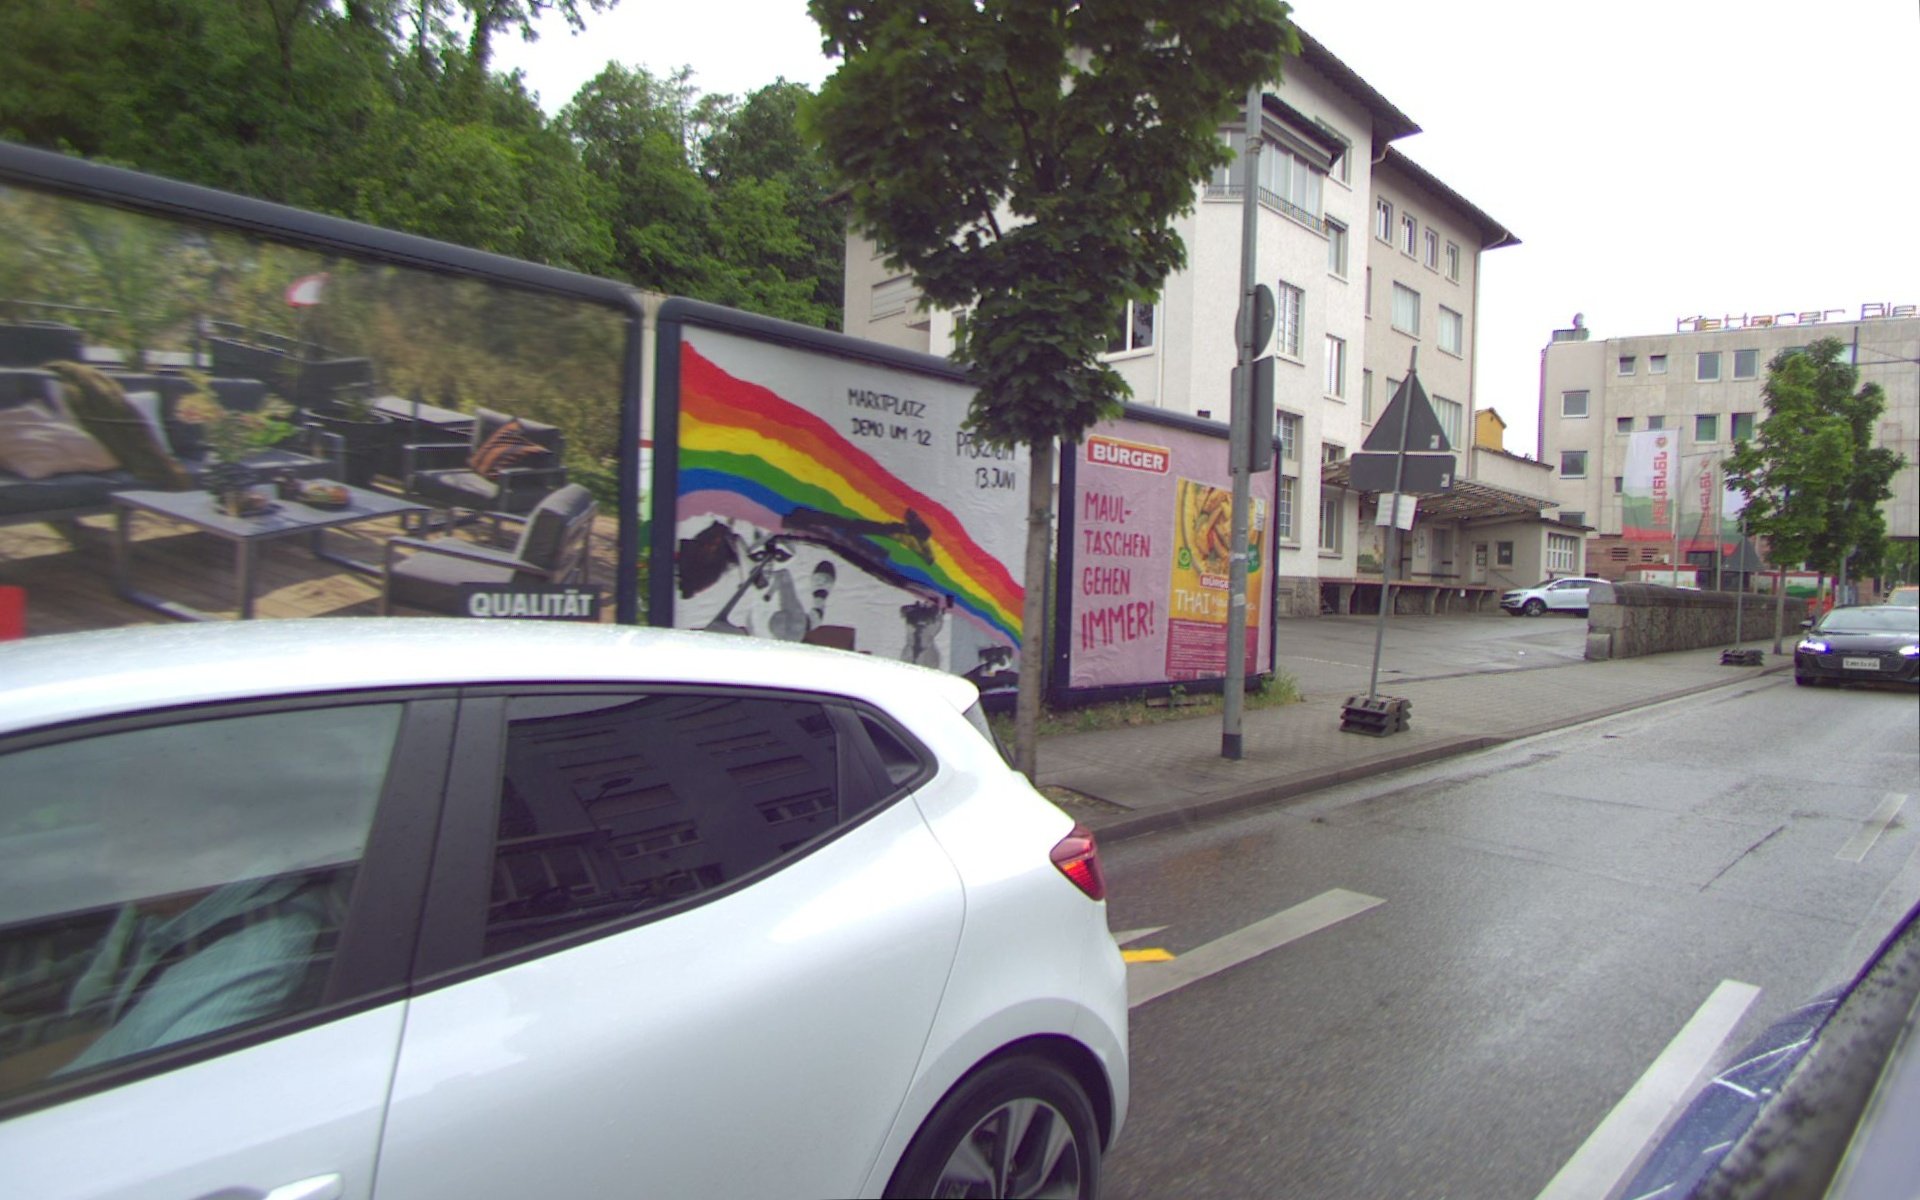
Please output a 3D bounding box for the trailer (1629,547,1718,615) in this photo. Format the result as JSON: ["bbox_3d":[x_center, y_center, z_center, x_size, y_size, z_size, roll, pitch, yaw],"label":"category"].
[{"bbox_3d":[37.292,-1.013,53.069,2.722,3.348,6.019,2,2,26],"label":"trailer"}]

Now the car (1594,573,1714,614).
[{"bbox_3d":[32.853,-0.316,48.041,4.216,1.669,1.859,4,1,16],"label":"car"}]

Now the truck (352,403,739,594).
[{"bbox_3d":[-8.259,-1.854,20.622,6.801,3.254,2.640,0,3,-38],"label":"truck"}]

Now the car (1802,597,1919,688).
[{"bbox_3d":[16.564,0.682,18.046,4.554,1.420,1.792,0,1,-43],"label":"car"}]

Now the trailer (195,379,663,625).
[{"bbox_3d":[-7.072,-1.140,13.844,5.294,2.749,2.133,1,4,-40],"label":"trailer"}]

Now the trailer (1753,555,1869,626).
[{"bbox_3d":[42.231,-0.539,50.436,2.606,3.215,5.677,3,3,22],"label":"trailer"}]

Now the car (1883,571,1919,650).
[{"bbox_3d":[28.121,0.298,28.950,5.448,2.115,2.104,0,1,-43],"label":"car"}]

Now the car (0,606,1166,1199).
[{"bbox_3d":[-1.531,0.716,1.455,3.800,1.414,1.667,2,-2,-42],"label":"car"}]

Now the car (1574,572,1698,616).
[{"bbox_3d":[28.777,-0.263,43.220,3.940,1.602,1.765,4,1,13],"label":"car"}]

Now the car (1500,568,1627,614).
[{"bbox_3d":[24.500,-0.360,41.221,3.917,1.588,1.921,3,-2,10],"label":"car"}]
